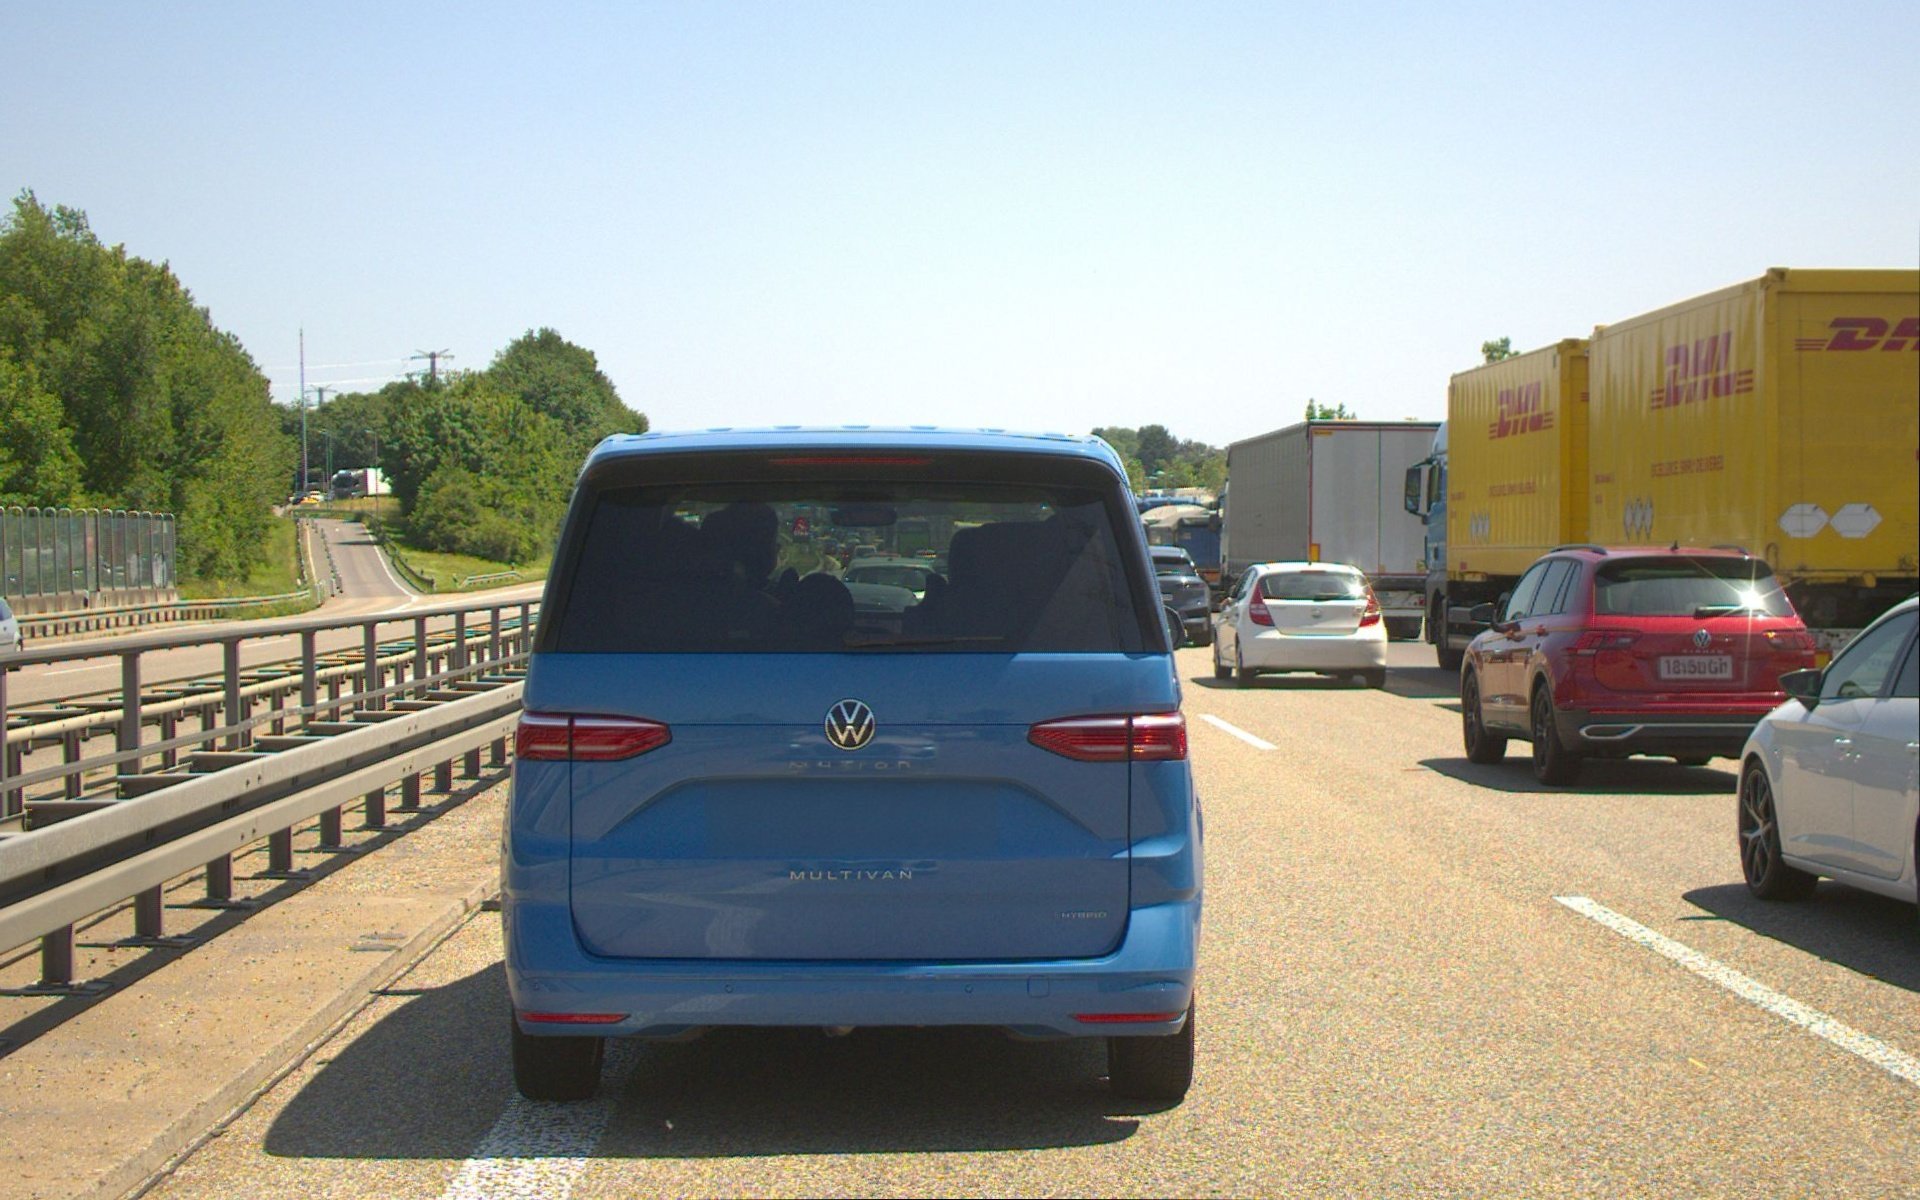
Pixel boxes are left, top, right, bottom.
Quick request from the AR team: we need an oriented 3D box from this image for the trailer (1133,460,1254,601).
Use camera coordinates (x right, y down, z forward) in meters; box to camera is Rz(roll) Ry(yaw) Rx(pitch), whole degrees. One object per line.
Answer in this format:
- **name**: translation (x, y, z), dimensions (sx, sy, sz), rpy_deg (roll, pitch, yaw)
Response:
- **trailer**: translation (6.544, -1.882, 97.823), dimensions (2.379, 3.731, 11.189), rpy_deg (1, 0, -1)

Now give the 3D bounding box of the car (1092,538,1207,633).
- **car**: translation (3.237, -0.225, 59.345), dimensions (1.715, 1.581, 3.821), rpy_deg (0, 0, -1)

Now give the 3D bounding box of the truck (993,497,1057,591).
- **truck**: translation (3.575, -3.027, 191.587), dimensions (2.833, 5.023, 11.818), rpy_deg (1, 0, -2)

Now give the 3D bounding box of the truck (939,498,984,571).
- **truck**: translation (0.083, -4.958, 263.384), dimensions (2.833, 5.354, 12.556), rpy_deg (1, 0, -2)

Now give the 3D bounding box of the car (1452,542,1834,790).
- **car**: translation (4.727, 0.399, 24.342), dimensions (1.851, 1.603, 4.000), rpy_deg (0, 1, -1)

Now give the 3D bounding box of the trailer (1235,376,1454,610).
- **trailer**: translation (7.296, -1.918, 66.871), dimensions (2.755, 4.132, 11.312), rpy_deg (1, 0, -1)

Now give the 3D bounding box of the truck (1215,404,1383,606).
- **truck**: translation (7.192, -1.957, 73.781), dimensions (2.768, 4.081, 6.984), rpy_deg (1, 0, -1)

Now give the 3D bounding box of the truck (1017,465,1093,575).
- **truck**: translation (4.483, -3.751, 164.799), dimensions (2.833, 5.023, 11.147), rpy_deg (1, 0, -2)

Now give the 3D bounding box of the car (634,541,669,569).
- **car**: translation (-18.798, -2.736, 209.712), dimensions (1.780, 1.563, 4.387), rpy_deg (-2, 1, -1)

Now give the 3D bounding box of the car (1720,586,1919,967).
- **car**: translation (4.429, 0.654, 13.779), dimensions (1.781, 1.382, 4.188), rpy_deg (0, 1, -1)

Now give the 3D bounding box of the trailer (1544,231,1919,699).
- **trailer**: translation (7.989, -1.169, 34.075), dimensions (2.701, 4.010, 8.931), rpy_deg (1, 0, -1)

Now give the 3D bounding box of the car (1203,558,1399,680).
- **car**: translation (4.111, 0.199, 42.009), dimensions (1.838, 1.409, 4.000), rpy_deg (0, 1, -2)

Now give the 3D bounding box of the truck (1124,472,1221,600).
- **truck**: translation (6.386, -1.888, 103.867), dimensions (2.367, 3.709, 6.034), rpy_deg (1, 0, -1)

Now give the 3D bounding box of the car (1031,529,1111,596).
- **car**: translation (2.668, -0.921, 83.161), dimensions (1.715, 1.535, 3.821), rpy_deg (-2, 1, -1)

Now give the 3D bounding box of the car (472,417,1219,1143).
- **car**: translation (-0.315, 0.431, 10.677), dimensions (1.882, 1.831, 4.000), rpy_deg (0, 1, -1)

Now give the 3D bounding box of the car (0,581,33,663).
- **car**: translation (-17.467, 0.425, 59.926), dimensions (1.604, 1.389, 3.677), rpy_deg (-3, 1, -1)

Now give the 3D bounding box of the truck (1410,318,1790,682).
- **truck**: translation (7.851, -1.136, 43.725), dimensions (2.722, 4.041, 10.336), rpy_deg (1, 0, -1)
